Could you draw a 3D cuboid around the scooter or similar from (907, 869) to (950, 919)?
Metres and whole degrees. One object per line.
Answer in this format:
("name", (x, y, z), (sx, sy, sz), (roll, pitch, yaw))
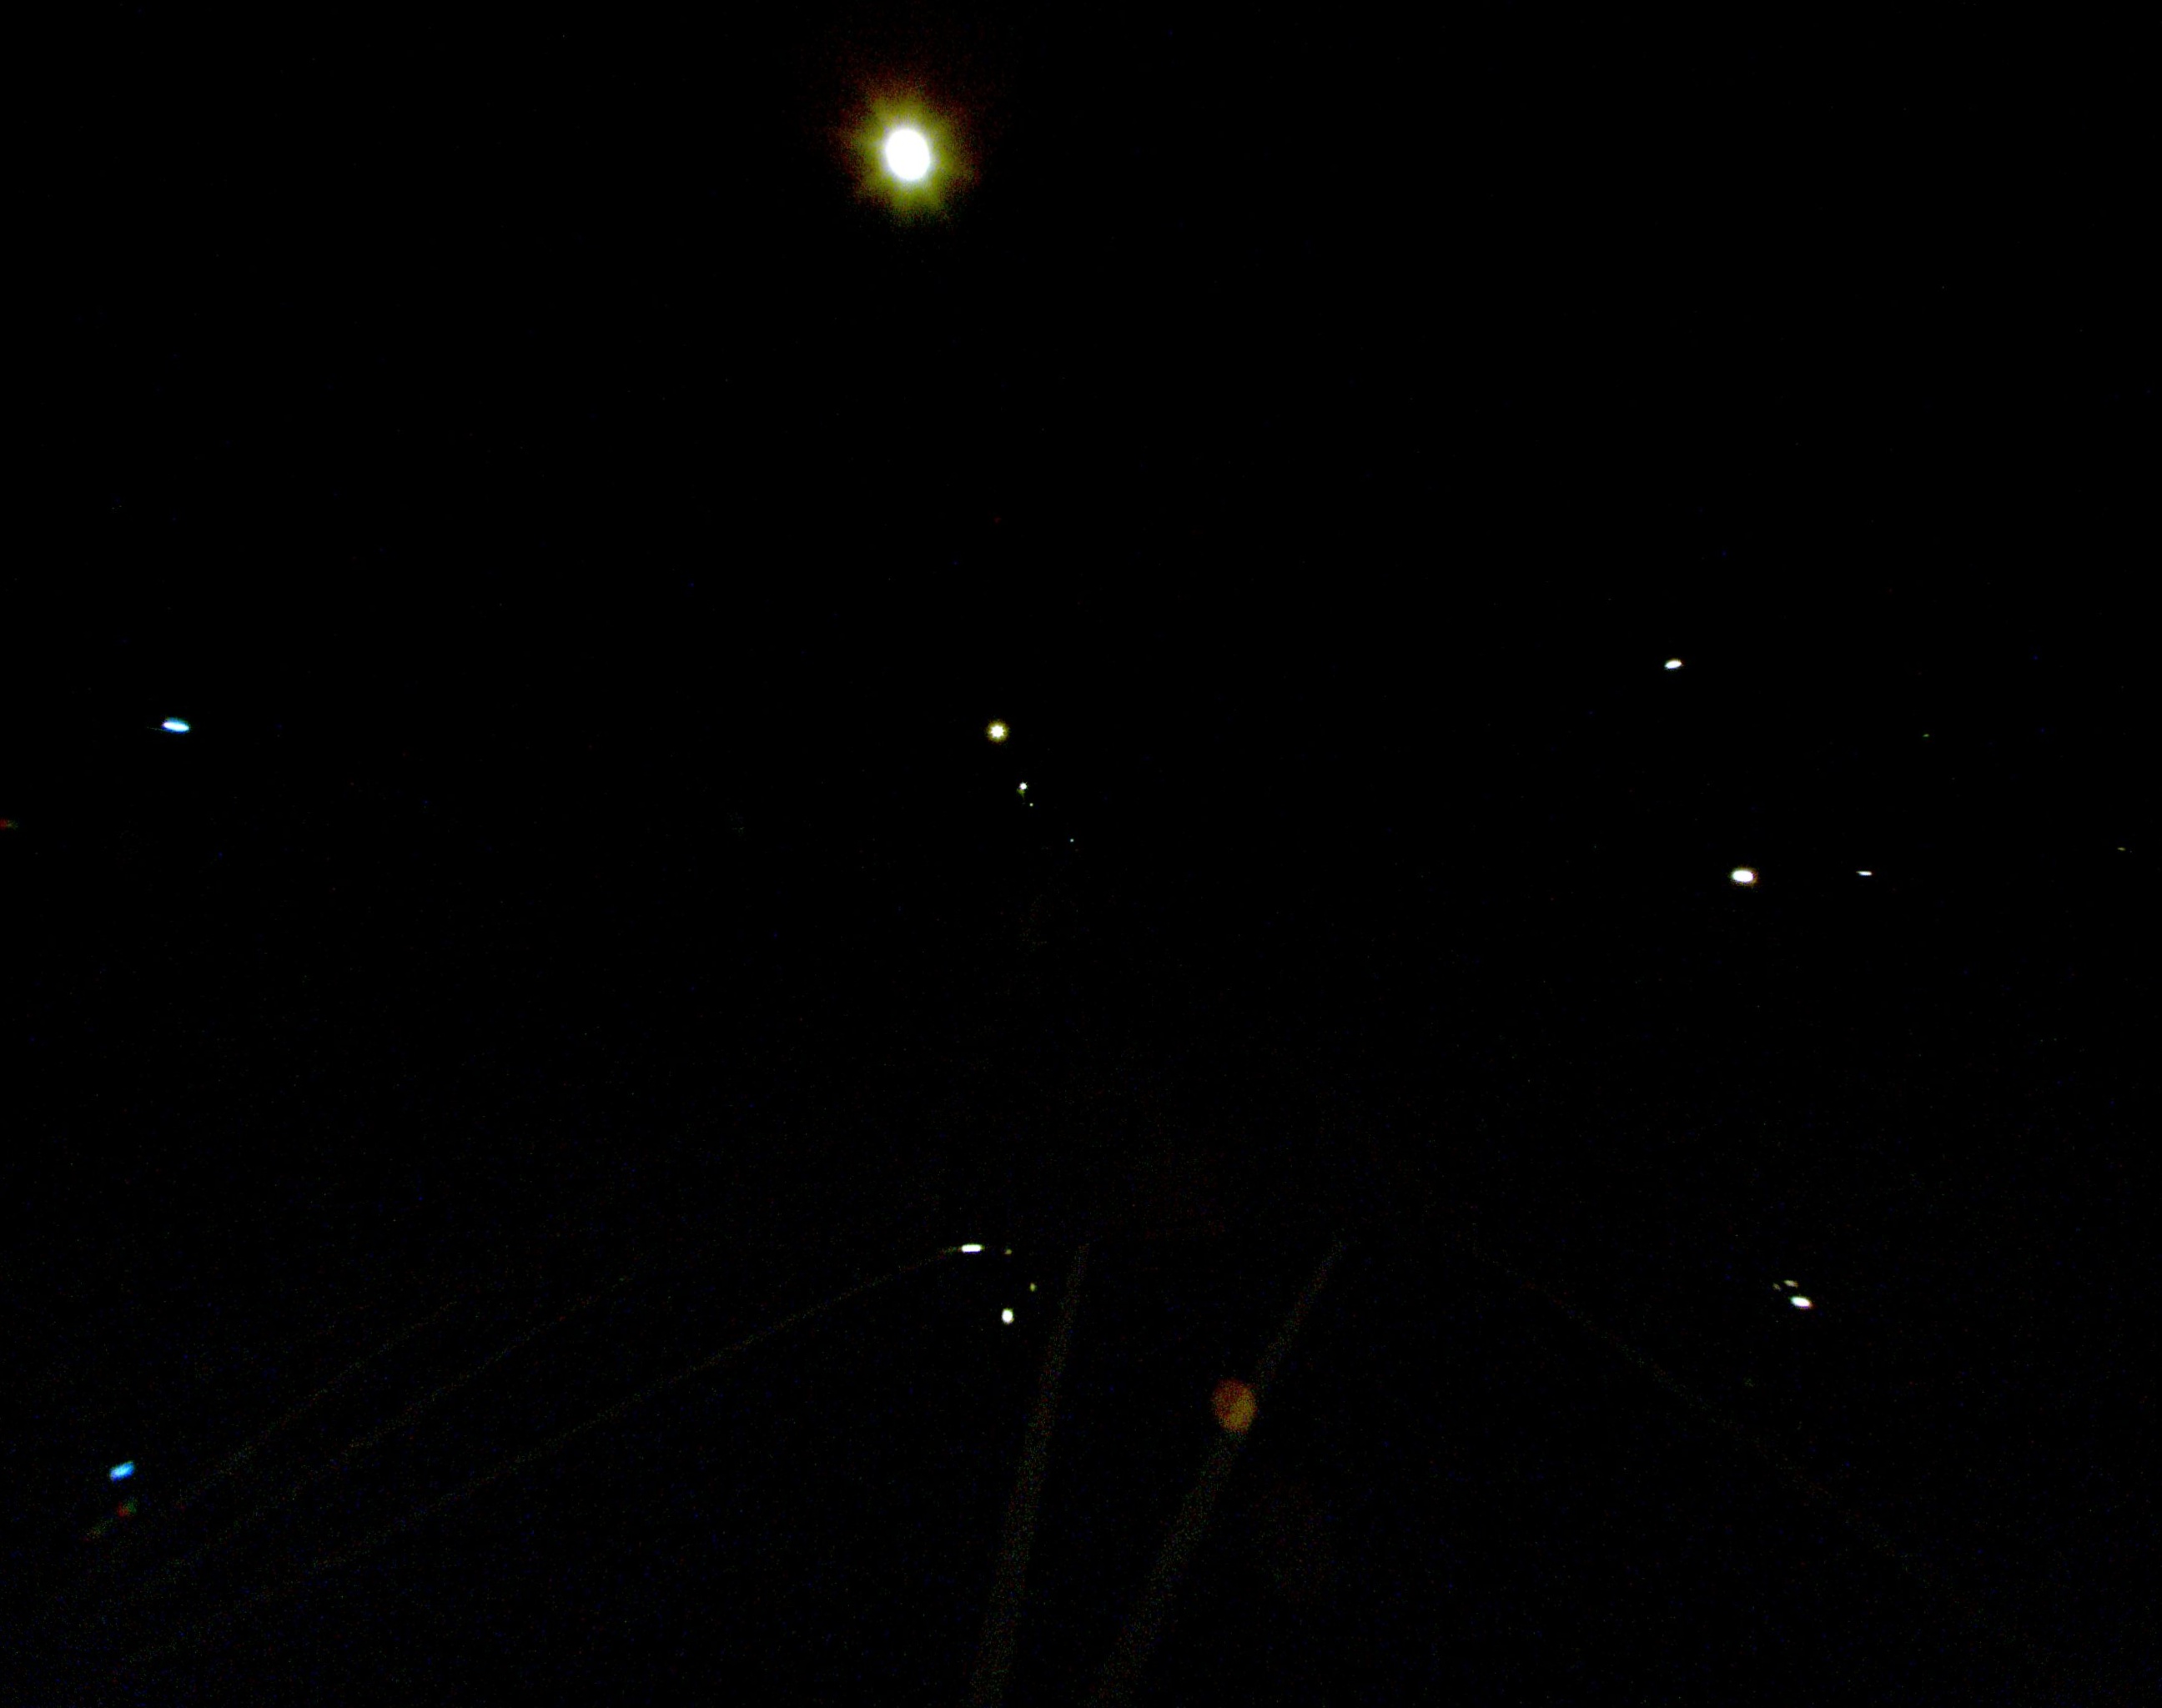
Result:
("scooter or similar", (-3.814, 0.980, 19.049), (0.468, 1.195, 1.137), (-2, -1, 24))

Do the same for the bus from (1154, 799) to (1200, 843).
("bus", (16.552, -5.527, 132.603), (6.135, 6.898, 14.781), (-2, 1, 0))

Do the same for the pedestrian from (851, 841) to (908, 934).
("pedestrian", (-4.173, 0.675, 15.813), (0.819, 1.854, 1.034), (-2, 1, 0))

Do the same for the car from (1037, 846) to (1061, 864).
("car", (-3.395, 0.115, 81.225), (1.998, 1.638, 4.000), (3, 3, 5))

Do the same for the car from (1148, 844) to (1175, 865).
("car", (6.716, 0.016, 63.892), (1.806, 1.583, 3.999), (-2, 1, -1))

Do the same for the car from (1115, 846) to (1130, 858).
("car", (5.622, -0.256, 103.487), (1.863, 1.484, 4.080), (-2, 1, 0))
